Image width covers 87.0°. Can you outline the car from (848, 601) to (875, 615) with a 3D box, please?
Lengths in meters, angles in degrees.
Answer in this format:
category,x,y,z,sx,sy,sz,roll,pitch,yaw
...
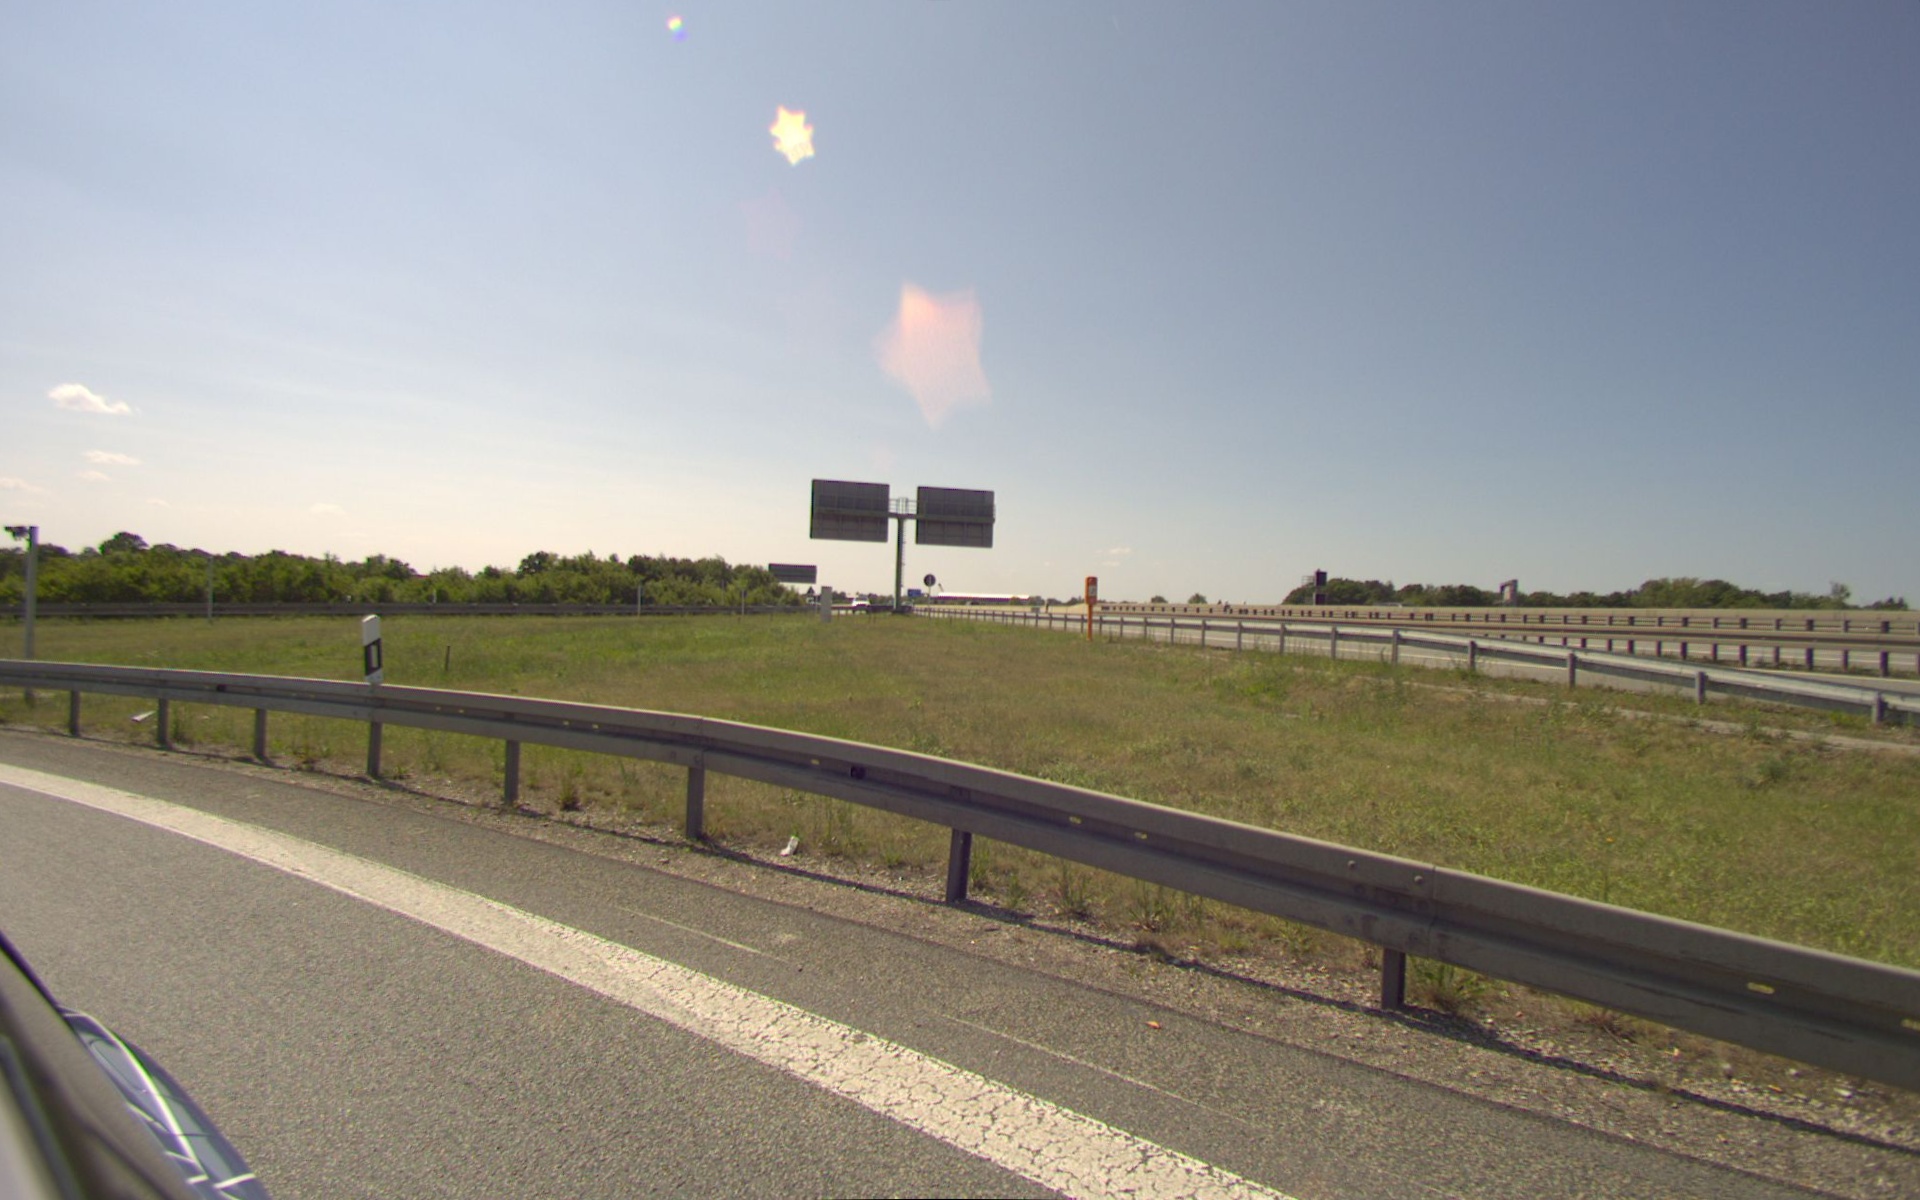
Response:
category,x,y,z,sx,sy,sz,roll,pitch,yaw
car,-10.711,0.867,110.418,1.976,1.519,4.290,0,0,7
